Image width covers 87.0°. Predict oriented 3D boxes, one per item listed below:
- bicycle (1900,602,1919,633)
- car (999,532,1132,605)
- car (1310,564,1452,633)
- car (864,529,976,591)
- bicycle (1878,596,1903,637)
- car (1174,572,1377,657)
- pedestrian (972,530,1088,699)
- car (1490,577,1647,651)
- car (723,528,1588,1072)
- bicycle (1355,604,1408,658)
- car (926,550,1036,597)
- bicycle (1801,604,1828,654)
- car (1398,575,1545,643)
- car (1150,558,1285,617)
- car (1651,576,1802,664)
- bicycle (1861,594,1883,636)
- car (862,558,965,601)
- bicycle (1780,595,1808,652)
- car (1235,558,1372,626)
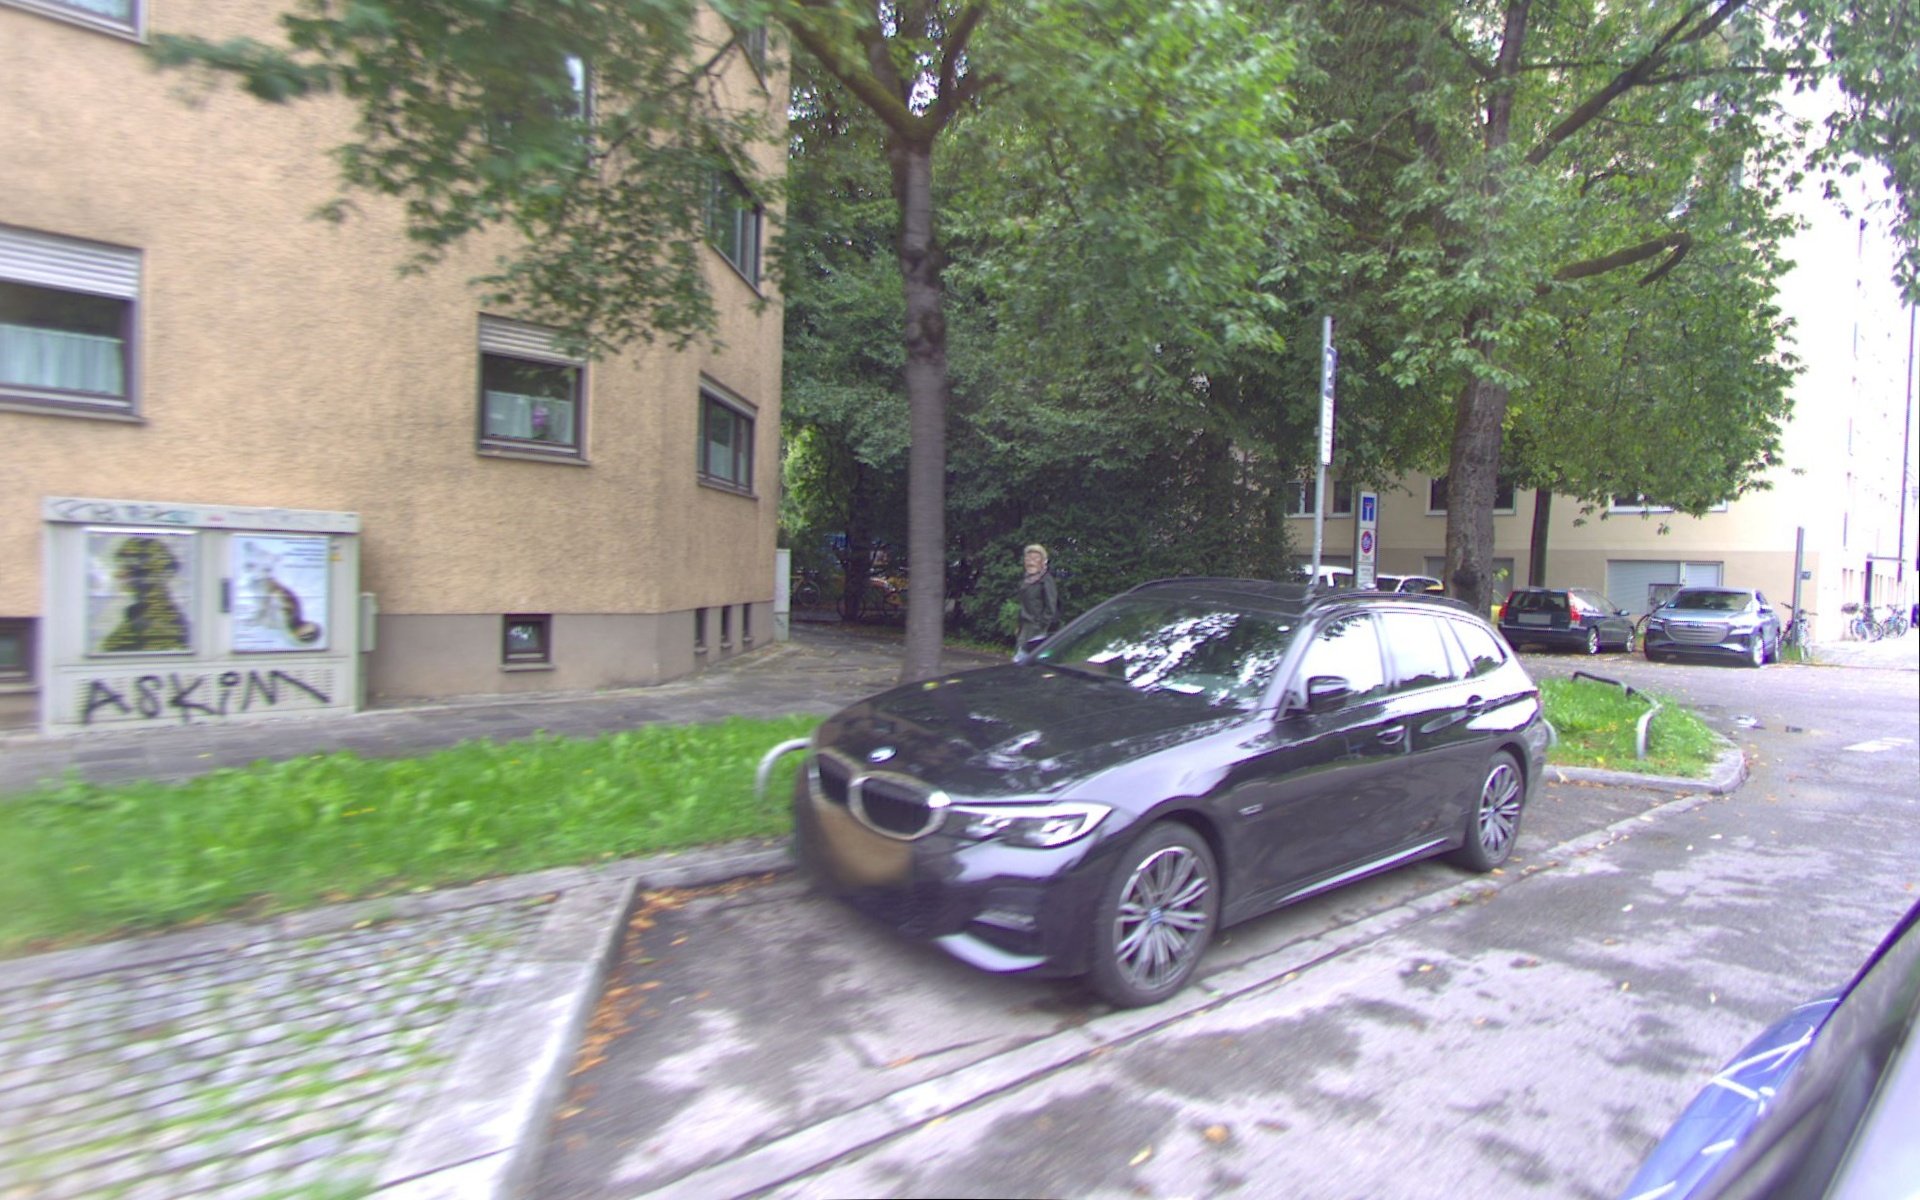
[{"bbox_3d":[32.924,0.606,35.059,0.462,1.017,1.298,3,2,44],"label":"bicycle"},{"bbox_3d":[3.616,-1.089,34.923,4.092,2.342,1.909,1,2,-18],"label":"car"},{"bbox_3d":[11.175,-0.075,26.762,4.174,1.640,1.914,0,3,-44],"label":"car"},{"bbox_3d":[-1.767,-1.719,43.743,4.595,2.441,1.982,1,2,-7],"label":"car"},{"bbox_3d":[27.985,0.480,30.443,0.399,1.185,1.301,3,2,38],"label":"bicycle"},{"bbox_3d":[6.503,0.234,21.170,1.702,1.515,3.707,0,2,-38],"label":"car"},{"bbox_3d":[0.720,0.125,10.400,0.962,1.643,0.672,-1,2,-38],"label":"pedestrian"},{"bbox_3d":[14.087,0.262,23.347,4.174,1.485,2.051,0,3,-44],"label":"car"},{"bbox_3d":[1.235,0.537,4.982,4.298,1.514,1.797,0,5,-40],"label":"car"},{"bbox_3d":[7.147,0.517,17.156,1.058,0.891,0.250,1,2,-33],"label":"bicycle"},{"bbox_3d":[0.781,-1.033,39.063,4.027,1.623,1.906,2,2,-4],"label":"car"},{"bbox_3d":[19.061,0.628,22.573,1.218,1.074,0.282,0,2,-43],"label":"bicycle"},{"bbox_3d":[12.658,0.172,24.929,4.174,1.485,1.914,0,3,-44],"label":"car"},{"bbox_3d":[7.764,-0.385,30.318,4.173,1.619,1.915,0,3,-43],"label":"car"},{"bbox_3d":[15.993,0.352,21.043,4.174,1.584,1.823,0,3,-44],"label":"car"},{"bbox_3d":[26.421,0.433,29.323,0.362,1.185,1.300,3,2,39],"label":"bicycle"},{"bbox_3d":[-1.922,-0.839,41.275,4.026,1.623,1.907,1,2,-6],"label":"car"},{"bbox_3d":[18.889,0.523,22.925,1.218,1.246,0.282,0,2,-43],"label":"bicycle"},{"bbox_3d":[9.825,-0.250,28.806,4.173,1.772,1.915,0,2,-43],"label":"car"}]
